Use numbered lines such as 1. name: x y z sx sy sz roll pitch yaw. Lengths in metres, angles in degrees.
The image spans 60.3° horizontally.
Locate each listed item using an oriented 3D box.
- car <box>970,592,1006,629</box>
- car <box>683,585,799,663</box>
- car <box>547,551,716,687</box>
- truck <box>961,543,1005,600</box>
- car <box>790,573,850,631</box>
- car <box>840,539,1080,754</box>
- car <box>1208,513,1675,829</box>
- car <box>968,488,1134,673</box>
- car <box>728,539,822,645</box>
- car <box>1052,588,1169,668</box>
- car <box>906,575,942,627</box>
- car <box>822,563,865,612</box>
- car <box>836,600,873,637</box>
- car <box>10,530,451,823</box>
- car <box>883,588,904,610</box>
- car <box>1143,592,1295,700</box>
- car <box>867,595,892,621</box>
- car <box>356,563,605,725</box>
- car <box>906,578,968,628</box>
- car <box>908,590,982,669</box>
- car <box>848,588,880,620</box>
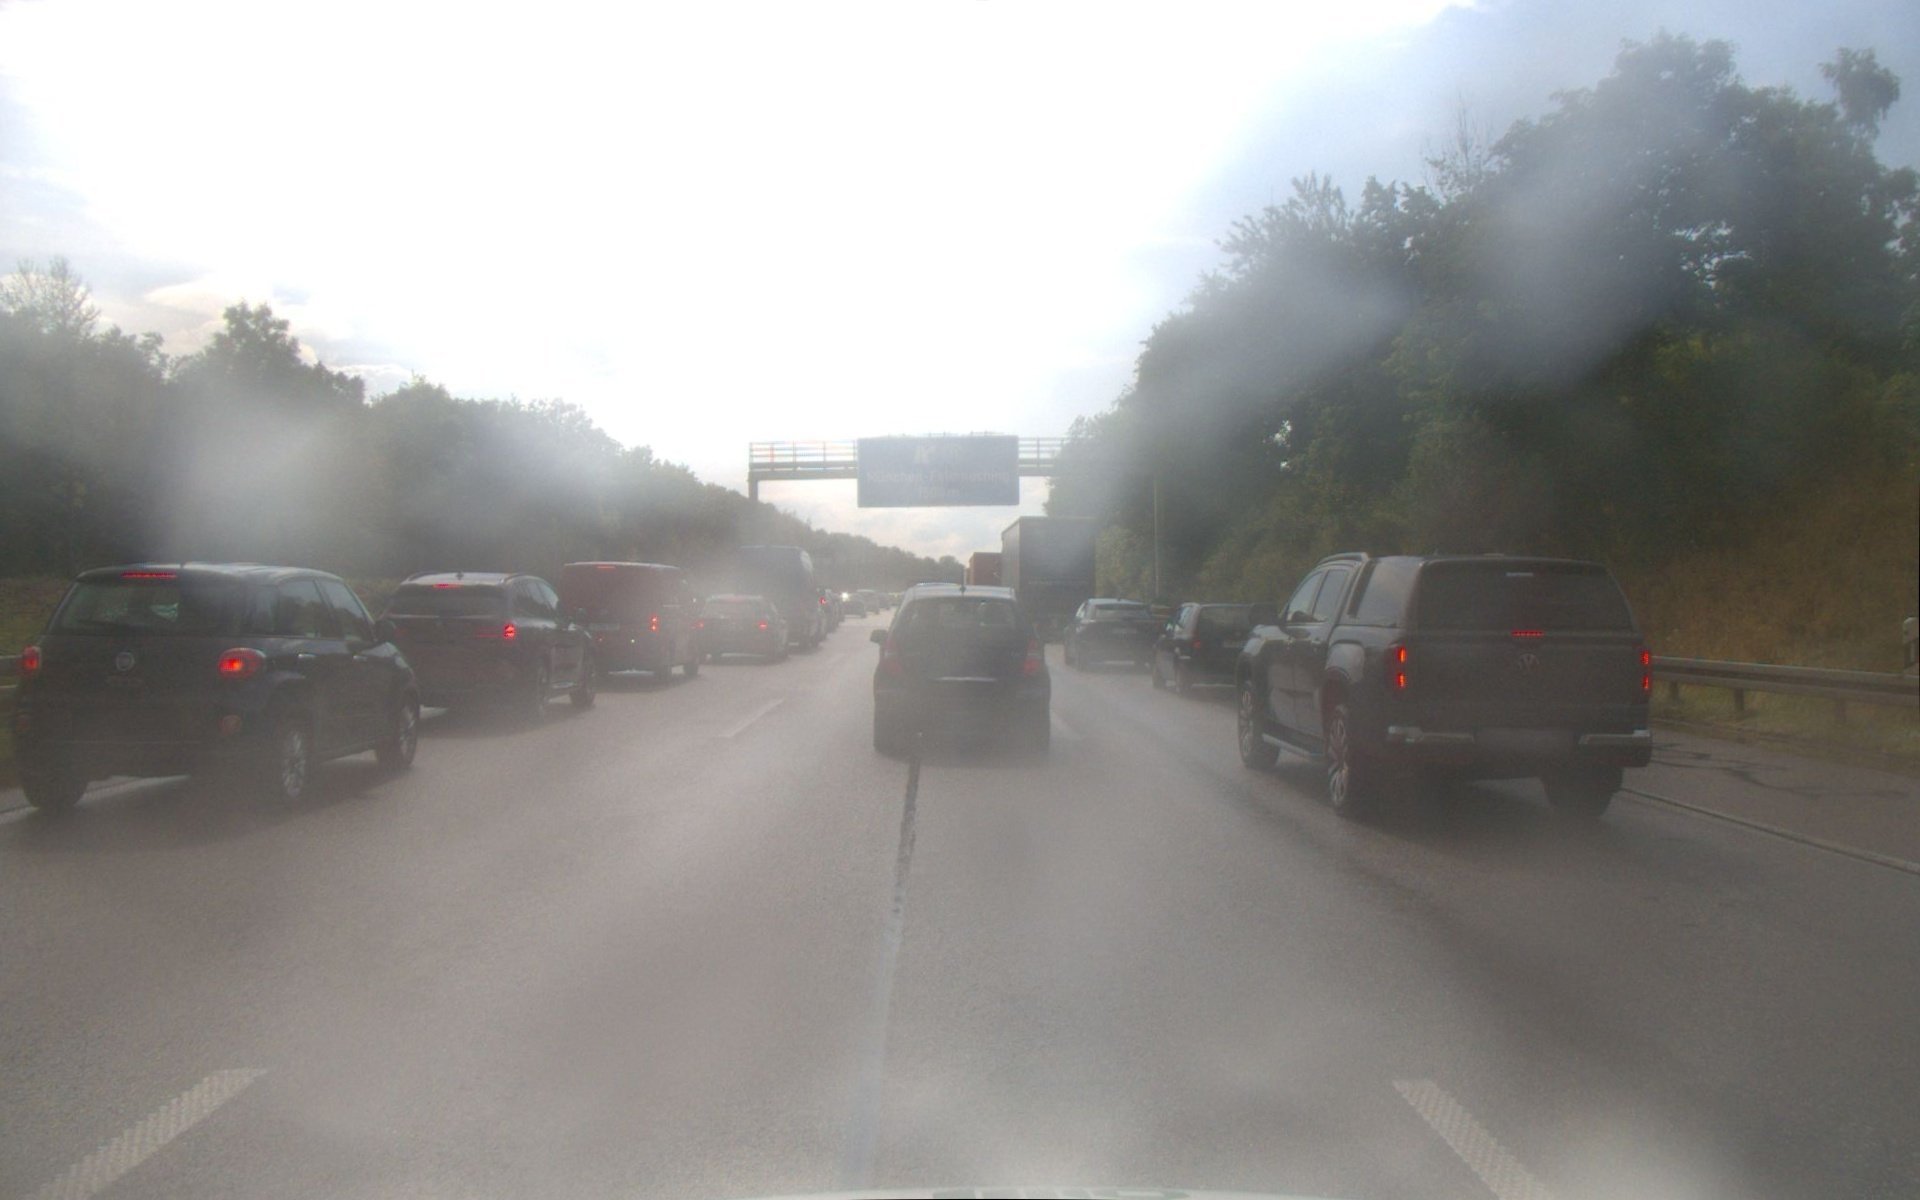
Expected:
1. car: 1.624 0.616 97.844 1.953 2.152 4.888 1 0 -1
2. car: -4.762 0.506 36.621 1.953 1.592 4.755 1 0 -1
3. car: -5.453 0.302 28.082 1.938 2.090 4.755 1 0 -1
4. truck: 1.494 -1.877 110.973 2.719 3.695 5.915 1 0 -1
5. car: -5.396 0.093 64.466 1.953 2.152 4.888 1 0 -1
6. car: -0.107 0.443 17.905 2.229 1.989 4.818 1 0 -3
7. car: 3.432 0.457 13.141 1.902 1.952 5.650 1 0 -2
8. car: 3.000 -0.609 61.931 4.316 5.932 16.806 1 0 -3
9. car: -4.906 -0.186 44.527 1.953 2.661 5.258 1 0 -1
10. car: 3.047 0.555 34.134 1.828 1.542 3.973 1 0 -3
11. car: -1.975 0.047 92.330 1.953 2.794 5.258 1 0 -1
12. car: -6.084 -0.627 86.942 1.953 2.427 5.258 1 0 -1
13. car: -6.383 1.118 100.067 1.953 2.152 4.888 1 0 -1
14. car: -5.227 0.497 12.463 1.658 1.836 3.974 1 0 -2
15. car: -6.717 -0.071 167.700 1.953 2.152 4.888 1 0 -1
16. car: 3.963 0.677 25.870 1.559 1.542 3.973 1 0 -3
17. car: -6.923 0.707 142.133 1.953 2.152 4.888 1 0 -1
18. car: -5.561 0.469 19.794 1.871 1.665 4.613 -1 0 -4
19. car: -0.793 0.088 53.899 1.828 1.542 3.973 1 0 -3
20. car: -0.413 0.710 41.173 1.659 1.836 3.973 1 0 -3
21. car: -6.762 0.289 116.822 1.953 2.152 4.888 1 0 -1
